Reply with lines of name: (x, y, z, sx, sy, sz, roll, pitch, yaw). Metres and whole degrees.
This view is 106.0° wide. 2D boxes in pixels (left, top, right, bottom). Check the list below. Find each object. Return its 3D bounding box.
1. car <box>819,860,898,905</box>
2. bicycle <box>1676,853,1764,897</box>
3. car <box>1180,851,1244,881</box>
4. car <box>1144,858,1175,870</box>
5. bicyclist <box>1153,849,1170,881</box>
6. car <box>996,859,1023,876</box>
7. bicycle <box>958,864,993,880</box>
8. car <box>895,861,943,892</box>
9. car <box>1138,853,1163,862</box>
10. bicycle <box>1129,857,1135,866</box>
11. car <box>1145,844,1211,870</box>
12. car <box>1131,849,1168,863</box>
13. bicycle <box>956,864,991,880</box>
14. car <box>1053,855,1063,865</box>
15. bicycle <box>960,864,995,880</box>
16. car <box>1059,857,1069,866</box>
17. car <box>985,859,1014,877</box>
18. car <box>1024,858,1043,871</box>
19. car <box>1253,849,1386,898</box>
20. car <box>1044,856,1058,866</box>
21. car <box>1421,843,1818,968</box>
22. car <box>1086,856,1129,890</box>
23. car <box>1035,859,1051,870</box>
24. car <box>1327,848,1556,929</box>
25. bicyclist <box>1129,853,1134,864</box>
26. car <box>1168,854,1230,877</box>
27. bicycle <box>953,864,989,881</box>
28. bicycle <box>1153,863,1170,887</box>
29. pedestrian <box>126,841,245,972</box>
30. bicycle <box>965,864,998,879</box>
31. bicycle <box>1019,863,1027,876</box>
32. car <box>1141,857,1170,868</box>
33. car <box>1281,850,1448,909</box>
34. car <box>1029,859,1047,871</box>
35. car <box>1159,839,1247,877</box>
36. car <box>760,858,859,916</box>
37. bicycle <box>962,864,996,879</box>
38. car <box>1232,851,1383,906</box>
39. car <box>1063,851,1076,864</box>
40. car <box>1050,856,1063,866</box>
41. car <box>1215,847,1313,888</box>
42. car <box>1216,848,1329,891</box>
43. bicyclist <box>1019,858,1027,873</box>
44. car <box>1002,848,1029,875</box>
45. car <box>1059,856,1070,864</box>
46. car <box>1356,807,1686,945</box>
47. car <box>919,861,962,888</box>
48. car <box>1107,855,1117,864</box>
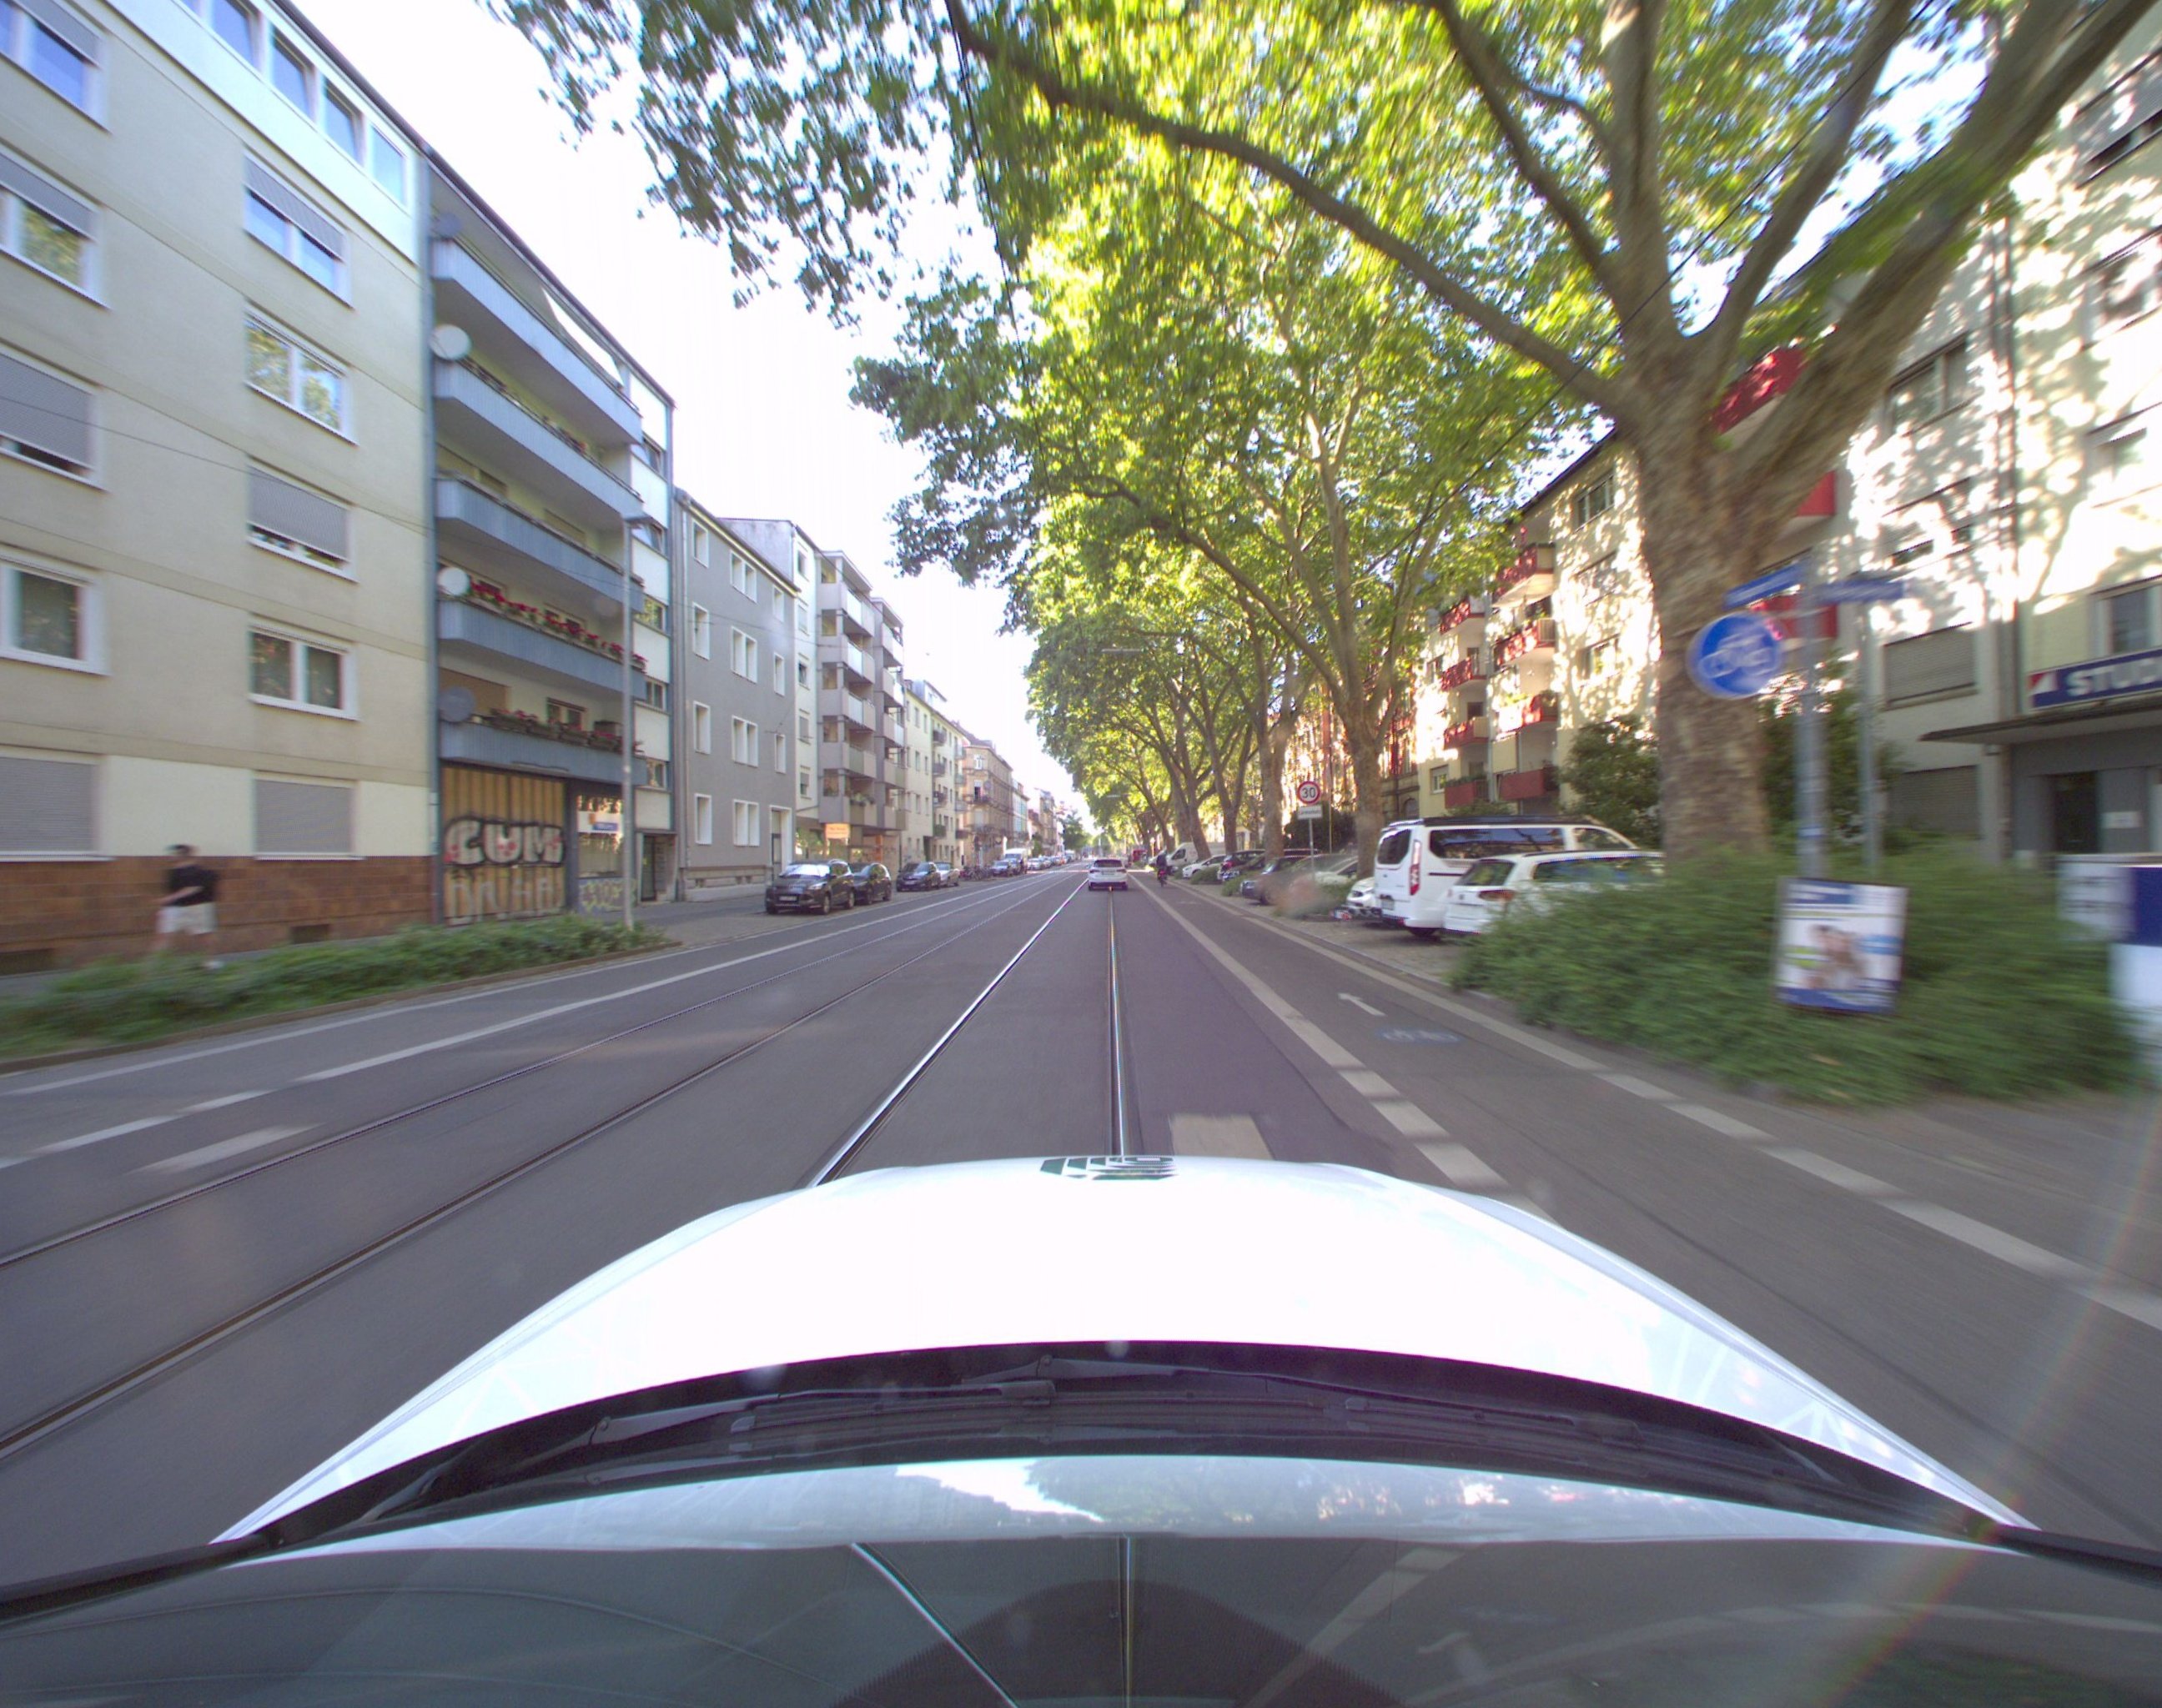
car: (-8.483, 1.050, 31.417, 1.696, 1.544, 4.243, 1, 0, 2)
bicycle: (16.514, 0.540, 21.060, 1.787, 1.041, 0.617, -3, -1, -3)
car: (7.766, 0.695, 48.605, 3.618, 1.666, 1.824, -1, 0, 4)
car: (10.441, 1.289, 108.924, 4.034, 1.540, 2.001, -1, 0, 1)
bicyclist: (3.762, 0.523, 38.223, 0.676, 1.443, 1.048, -2, 0, 2)
car: (-6.695, 1.250, 76.840, 1.986, 1.530, 4.002, -1, 0, 2)
bicycle: (-7.861, 1.339, 60.739, 2.519, 1.172, 0.718, 1, -2, -4)
car: (-8.277, 1.127, 41.848, 1.648, 1.437, 3.836, -1, 0, 0)
car: (11.540, 0.581, 134.984, 4.034, 1.540, 2.001, -1, 0, 1)
bicycle: (6.553, 0.976, 105.431, 0.647, 1.071, 1.583, -2, 0, 0)
car: (9.425, 0.284, 79.465, 6.111, 2.282, 2.529, -1, 0, -1)
car: (11.745, 0.327, 139.677, 6.111, 2.282, 2.529, -1, 0, -1)
bicycle: (-7.879, 1.337, 59.924, 2.520, 1.172, 0.718, 1, -2, -5)
car: (-5.190, 1.340, 184.257, 1.986, 2.013, 4.002, -1, 0, 2)
bicycle: (-7.855, 1.342, 61.799, 2.519, 1.172, 0.718, 1, -2, -4)
car: (-3.433, 1.509, 164.923, 1.986, 1.640, 4.002, 0, -1, 2)
car: (-7.048, 1.191, 71.064, 1.986, 1.530, 4.002, -1, 0, 2)
car: (-5.982, 1.351, 103.113, 1.986, 1.530, 4.002, -1, 0, 2)
car: (7.989, 0.648, 27.501, 3.973, 1.514, 1.761, -1, 0, 0)
car: (-4.803, 1.167, 132.418, 1.986, 1.530, 4.002, -1, 0, 2)
car: (7.227, 0.656, 11.276, 4.282, 1.479, 1.831, -1, 0, 0)
car: (1.178, 0.809, 36.018, 1.755, 1.384, 4.002, -2, 0, 2)
car: (-5.402, 1.509, 117.070, 1.986, 1.530, 4.002, -1, 0, 2)
car: (7.227, 0.667, 16.571, 3.886, 1.479, 1.722, -1, 0, -2)
bicyclist: (6.537, 0.560, 105.460, 0.647, 1.344, 0.934, -2, 0, 0)
car: (8.354, 0.806, 58.018, 4.041, 1.540, 1.997, -1, 0, -4)
bicycle: (-7.971, 1.331, 59.043, 2.545, 1.172, 0.873, 2, -2, -38)
bicycle: (3.780, 0.970, 38.361, 0.679, 1.071, 1.782, -2, 0, 2)
pedestrian: (-13.102, 0.744, 11.944, 0.661, 1.826, 0.965, -1, -1, 0)
bicycle: (-7.789, 1.355, 63.703, 2.520, 1.172, 0.718, 1, -2, -5)
bicycle: (-5.083, 1.326, 71.097, 0.603, 1.071, 1.582, -2, 0, -1)
car: (10.560, 1.188, 115.475, 4.034, 1.540, 2.001, -1, 0, 1)
car: (7.842, 0.692, 22.807, 4.021, 1.479, 1.924, -1, 0, 1)
car: (-5.700, 1.398, 107.336, 1.986, 1.530, 4.002, -1, 0, 2)
car: (9.053, 0.266, 60.854, 6.111, 2.635, 2.529, -1, 0, -1)
car: (-8.620, 0.985, 26.235, 1.697, 1.650, 4.241, 1, 0, 0)
bicycle: (-7.831, 1.344, 62.649, 2.519, 1.172, 0.718, 1, -2, -4)
car: (6.883, 0.733, 25.082, 4.129, 1.514, 1.931, -1, 0, 0)
car: (-2.962, 0.859, 205.680, 2.957, 3.156, 5.849, 0, -1, 2)
car: (-4.108, 1.213, 139.096, 1.986, 1.640, 4.002, 0, -1, 2)
car: (8.031, 0.600, 35.980, 3.973, 1.680, 1.723, -1, 0, 0)
car: (7.844, 0.627, 33.676, 4.220, 1.666, 1.848, -1, 0, 0)
bicyclist: (-5.088, 1.038, 71.140, 0.595, 1.286, 0.917, -2, 0, -1)
car: (-6.606, 0.741, 82.790, 2.170, 2.597, 4.951, -1, 0, 2)
car: (-3.235, 1.204, 159.569, 1.986, 1.640, 4.002, 0, -1, 2)
car: (7.292, 0.343, 13.857, 4.530, 2.076, 2.000, -1, 0, -1)
car: (-8.027, 1.144, 46.884, 1.478, 1.403, 3.995, -1, 0, 4)
car: (5.706, 0.985, 149.159, 1.755, 1.475, 4.002, -2, 0, 2)
